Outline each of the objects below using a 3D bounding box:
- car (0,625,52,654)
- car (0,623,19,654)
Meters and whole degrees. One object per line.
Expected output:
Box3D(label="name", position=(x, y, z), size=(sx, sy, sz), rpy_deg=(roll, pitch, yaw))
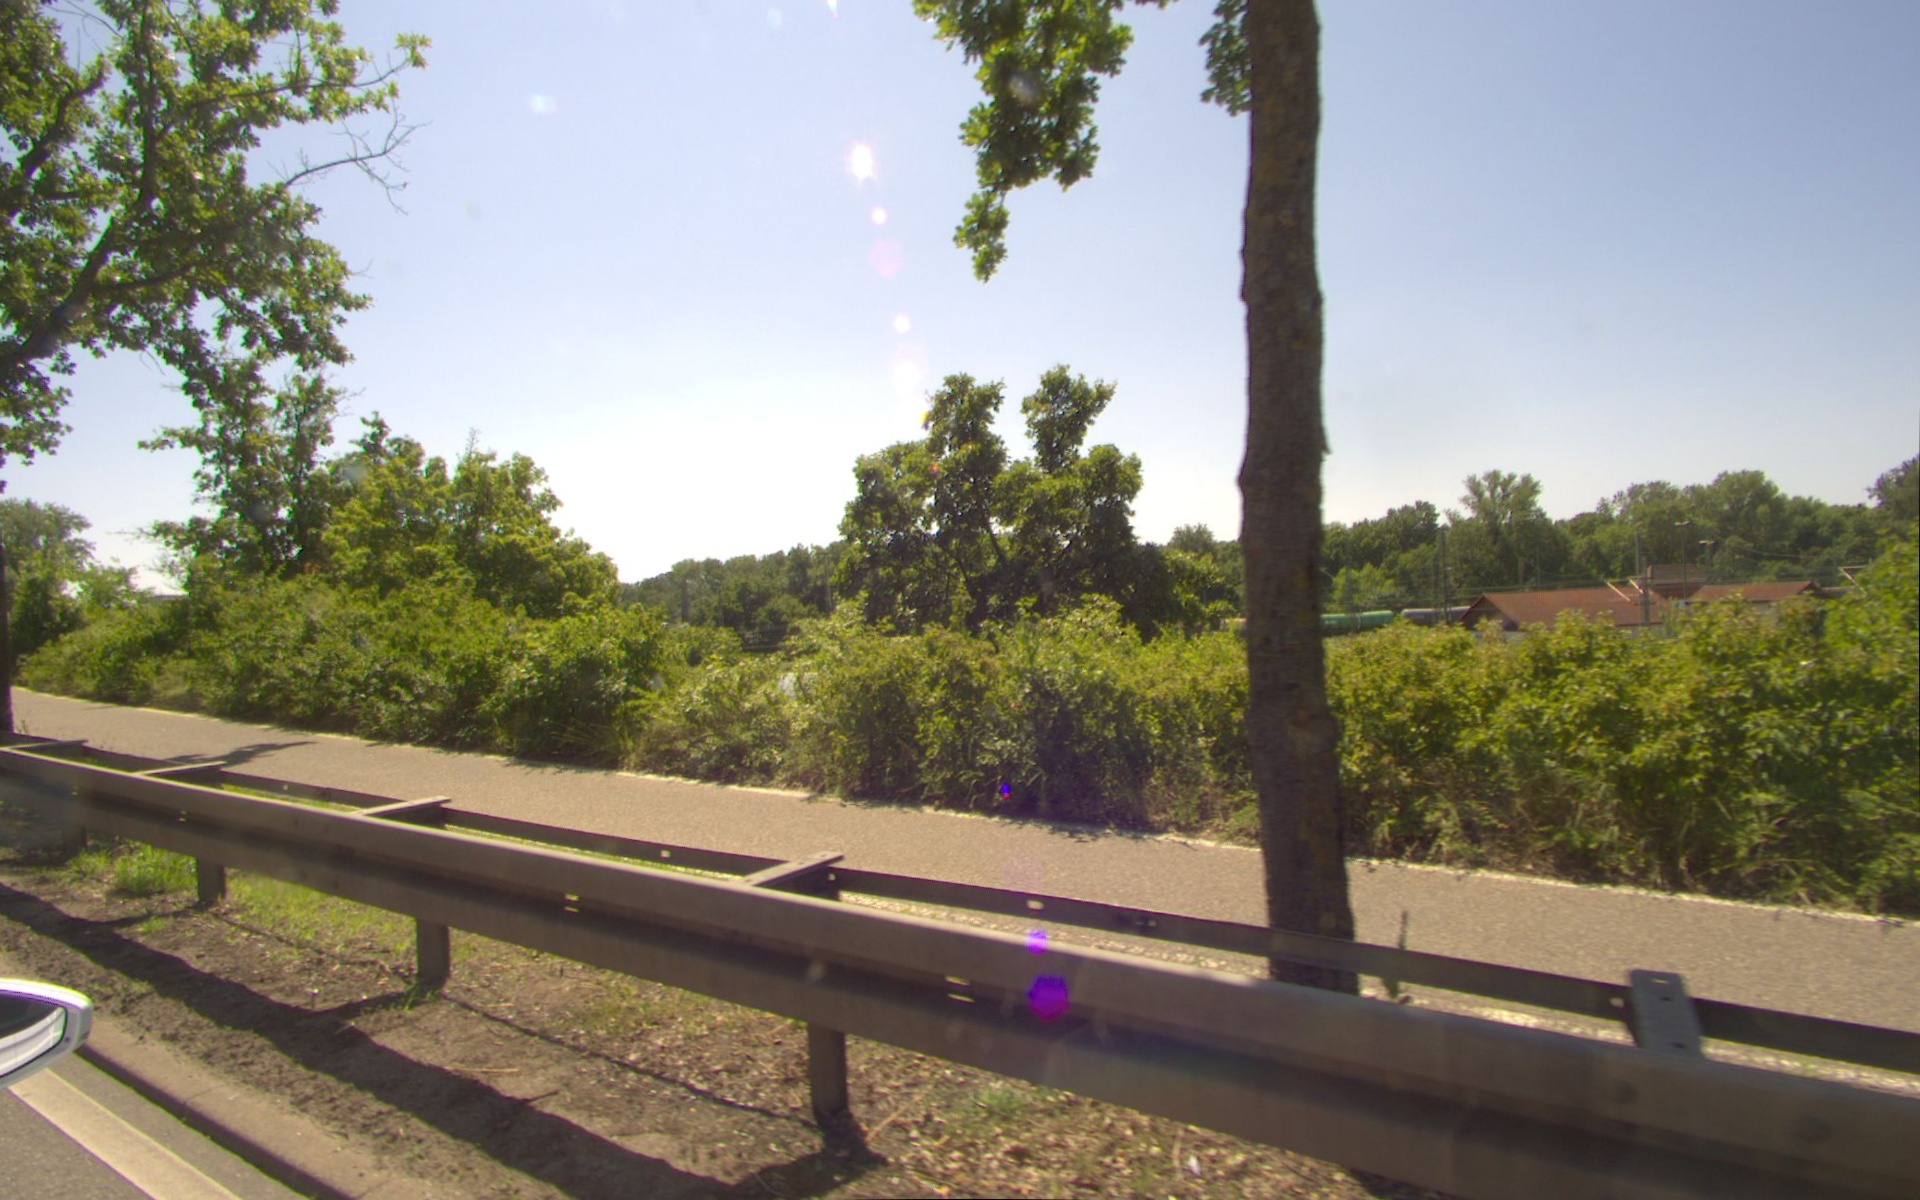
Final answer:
Box3D(label="car", position=(-60.660, 2.525, 64.776), size=(1.972, 1.790, 4.730), rpy_deg=(1, -2, -31))
Box3D(label="car", position=(-56.966, 2.257, 58.524), size=(1.973, 1.739, 4.840), rpy_deg=(1, -2, -33))
